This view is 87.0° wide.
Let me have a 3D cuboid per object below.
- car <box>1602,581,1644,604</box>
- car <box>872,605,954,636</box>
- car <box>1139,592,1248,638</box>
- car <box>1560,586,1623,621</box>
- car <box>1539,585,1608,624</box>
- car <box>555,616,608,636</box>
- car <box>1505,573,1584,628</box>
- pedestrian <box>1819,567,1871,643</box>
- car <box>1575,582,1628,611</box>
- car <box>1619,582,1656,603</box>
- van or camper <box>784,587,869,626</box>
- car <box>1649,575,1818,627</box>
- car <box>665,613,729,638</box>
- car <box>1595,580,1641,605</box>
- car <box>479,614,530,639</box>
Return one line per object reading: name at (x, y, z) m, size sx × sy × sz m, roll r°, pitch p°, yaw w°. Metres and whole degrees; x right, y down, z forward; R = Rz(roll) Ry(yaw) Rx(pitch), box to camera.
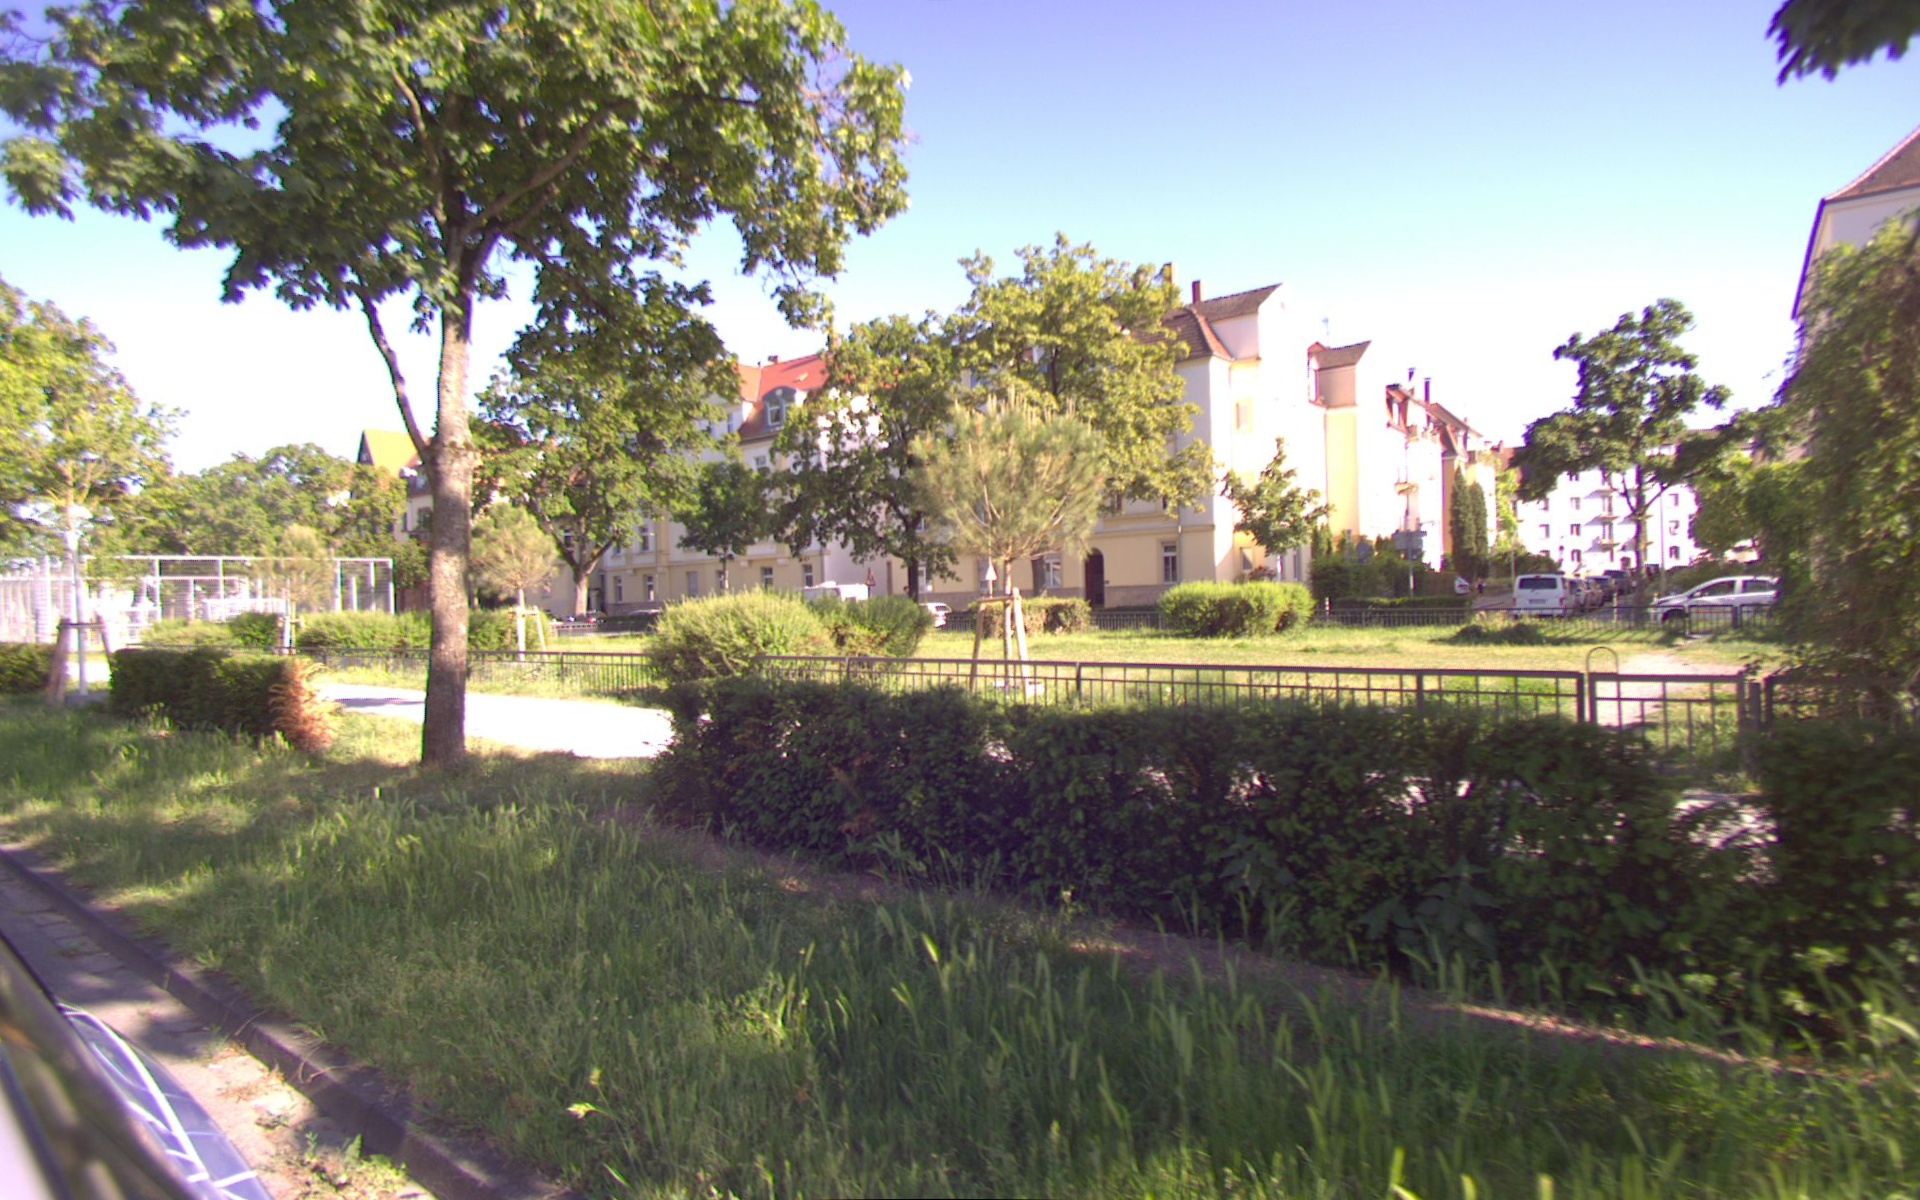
car at (47.037, -0.534, 71.790) m, size 2.041 × 1.530 × 3.766 m, roll -2°, pitch 0°, yaw 39°
car at (-2.437, 1.053, 51.905) m, size 3.996 × 1.464 × 1.822 m, roll -2°, pitch 0°, yaw 39°
car at (9.758, 0.636, 42.387) m, size 3.996 × 1.807 × 1.931 m, roll -2°, pitch 0°, yaw 39°
car at (30.226, 0.147, 48.402) m, size 2.041 × 1.530 × 3.766 m, roll -2°, pitch 0°, yaw 39°
car at (26.796, 0.183, 44.172) m, size 2.041 × 1.530 × 3.766 m, roll -2°, pitch 0°, yaw 39°
car at (-26.334, 1.827, 70.439) m, size 3.996 × 1.303 × 1.670 m, roll -2°, pitch 0°, yaw 39°
car at (22.719, -0.002, 39.283) m, size 2.041 × 1.970 × 3.766 m, roll -2°, pitch 0°, yaw 39°
pedestrian at (17.151, 0.100, 19.629) m, size 0.672 × 1.450 × 0.538 m, roll -2°, pitch 0°, yaw 37°
car at (36.171, -0.193, 57.027) m, size 2.041 × 1.530 × 3.766 m, roll -2°, pitch 0°, yaw 39°
car at (53.464, -0.601, 79.814) m, size 2.041 × 1.530 × 3.766 m, roll -2°, pitch 0°, yaw 39°
van or camper at (-7.392, 0.348, 55.877) m, size 4.368 × 2.029 × 2.246 m, roll -1°, pitch 0°, yaw 38°
car at (21.928, 0.038, 28.865) m, size 3.706 × 1.341 × 1.732 m, roll -2°, pitch 0°, yaw 36°
car at (-16.246, 1.588, 62.472) m, size 3.996 × 1.464 × 1.822 m, roll -2°, pitch 0°, yaw 39°
car at (42.618, -0.497, 65.520) m, size 2.041 × 1.530 × 3.766 m, roll -2°, pitch 0°, yaw 39°
car at (-34.865, 2.026, 77.391) m, size 3.996 × 1.807 × 1.931 m, roll -2°, pitch 0°, yaw 39°
